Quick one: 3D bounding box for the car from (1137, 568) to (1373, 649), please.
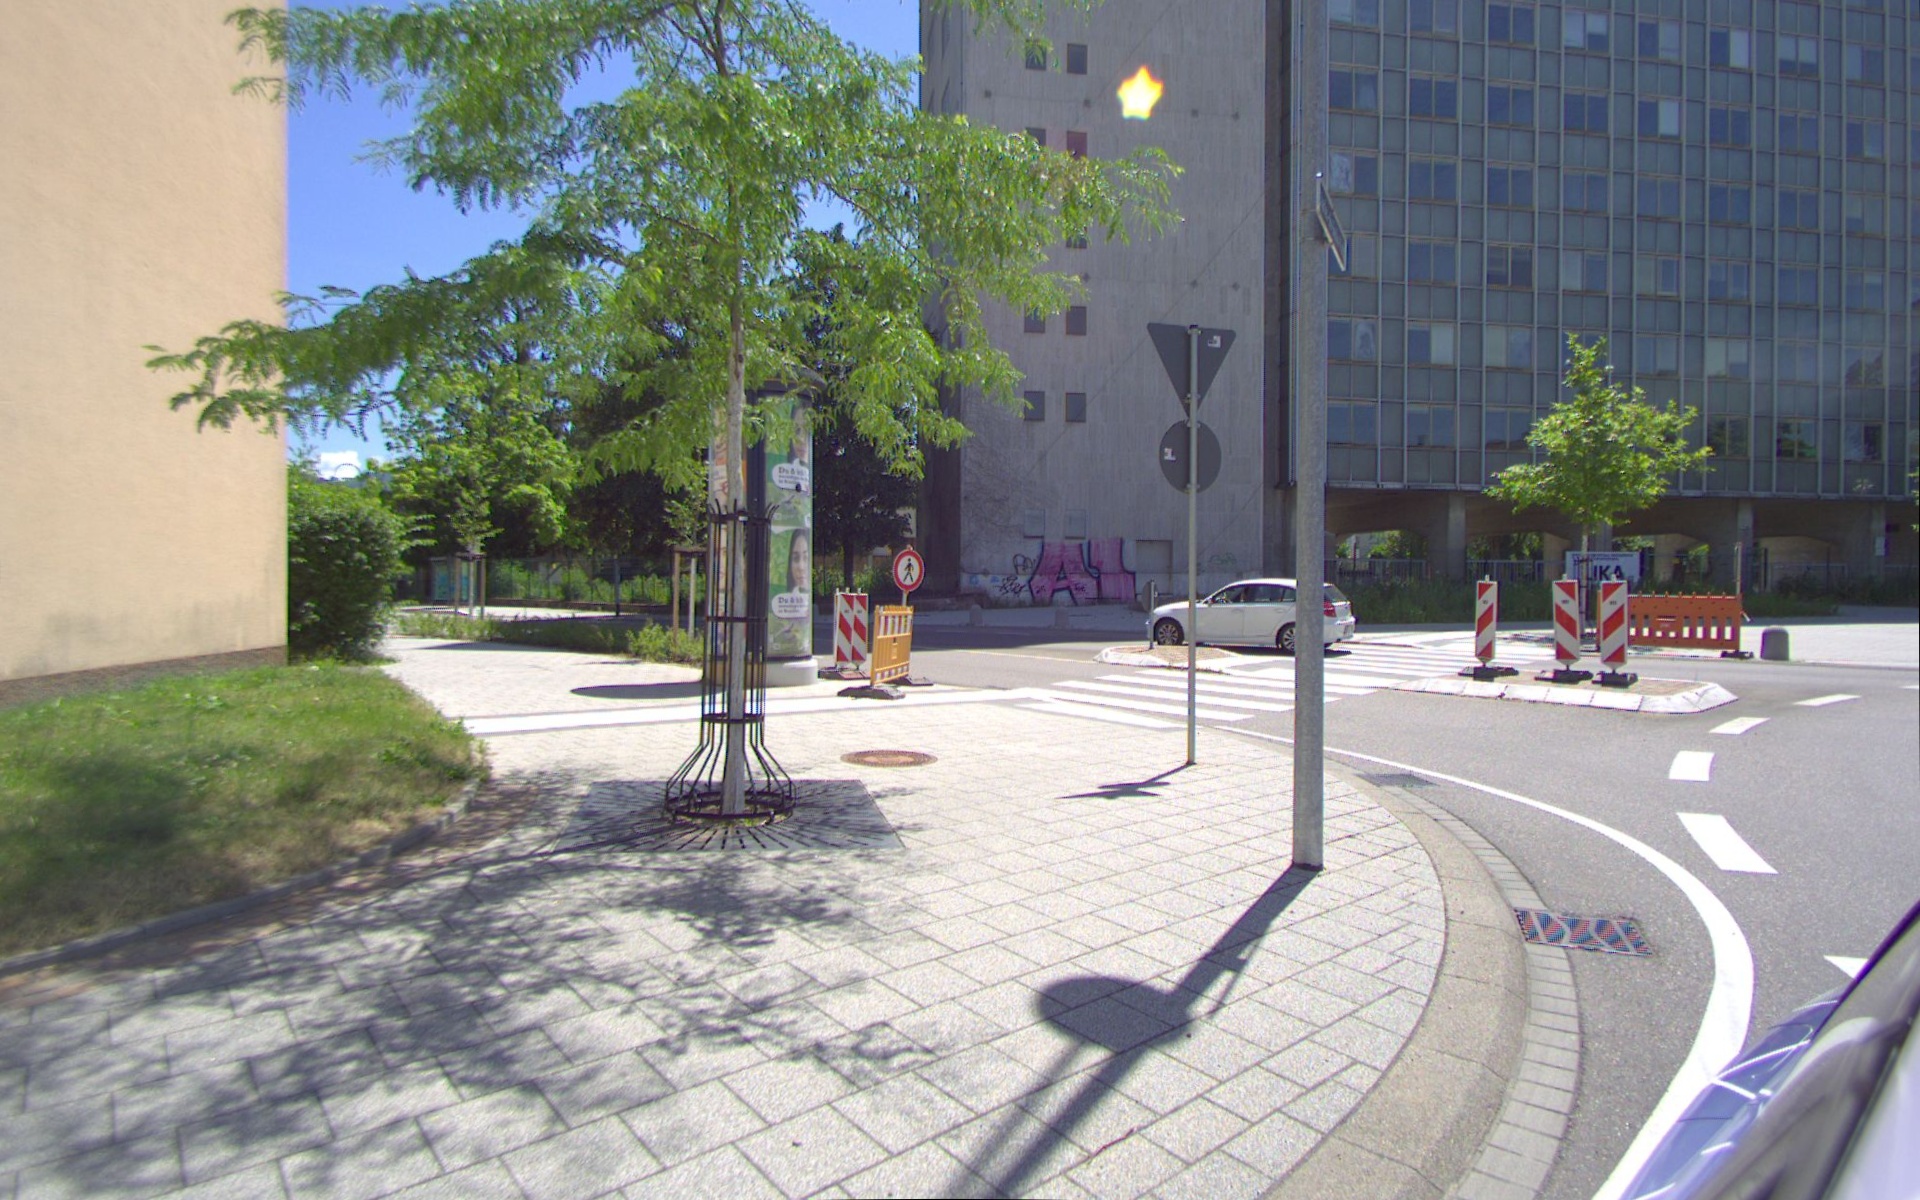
[{"bbox_3d":[5.907,0.113,20.421,4.226,1.477,1.888,1,1,34],"label":"car"}]
